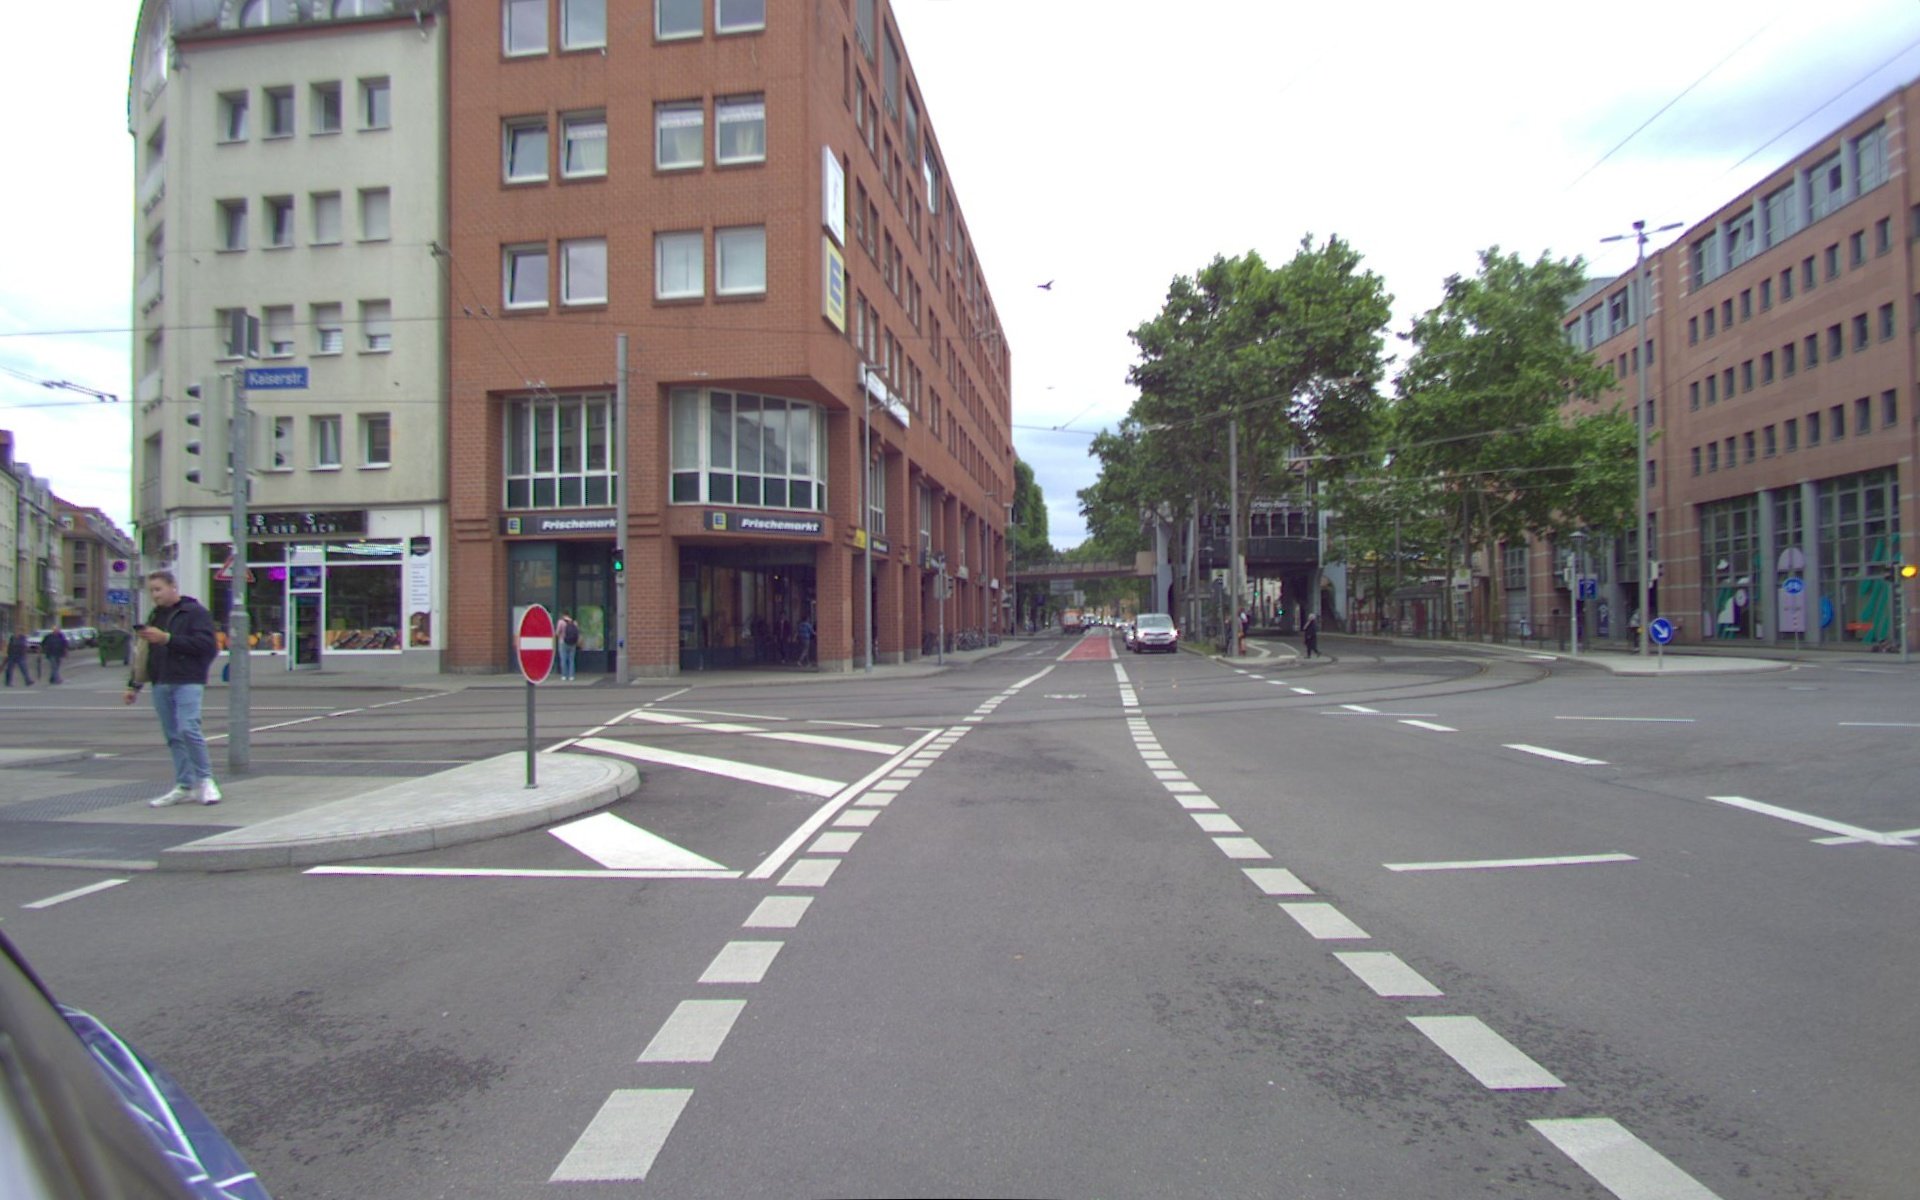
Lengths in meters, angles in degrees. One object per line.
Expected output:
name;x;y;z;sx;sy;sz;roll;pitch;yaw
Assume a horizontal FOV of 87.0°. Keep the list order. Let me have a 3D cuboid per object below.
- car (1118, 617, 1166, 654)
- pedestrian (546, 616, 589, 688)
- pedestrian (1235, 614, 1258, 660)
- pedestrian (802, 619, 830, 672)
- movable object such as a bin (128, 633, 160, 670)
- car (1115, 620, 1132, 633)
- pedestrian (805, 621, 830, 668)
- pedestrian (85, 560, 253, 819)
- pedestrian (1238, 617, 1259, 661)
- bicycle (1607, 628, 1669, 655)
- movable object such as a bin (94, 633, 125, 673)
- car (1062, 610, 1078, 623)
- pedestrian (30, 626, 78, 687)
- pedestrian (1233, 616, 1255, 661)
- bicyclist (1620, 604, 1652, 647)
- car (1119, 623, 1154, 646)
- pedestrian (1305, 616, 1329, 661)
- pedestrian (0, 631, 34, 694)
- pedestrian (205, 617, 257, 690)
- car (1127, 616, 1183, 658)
car;9.349;1.831;52.290;1.903;1.807;3.996;-1;-2;3
pedestrian;-9.565;1.250;24.671;0.570;1.696;0.789;0;0;37
pedestrian;10.113;1.293;35.752;0.621;1.586;0.574;1;-1;1
pedestrian;-4.706;1.470;33.103;0.789;1.696;0.745;0;0;4
movable object such as a bin;-32.791;2.046;40.660;0.995;1.416;1.241;0;-1;-40
car;20.160;3.299;124.981;1.657;1.559;3.702;-1;-2;3
pedestrian;-5.243;1.617;37.308;0.789;1.696;0.745;0;0;4
pedestrian;-6.074;0.664;7.802;0.789;1.904;0.611;0;-1;6
pedestrian;10.854;1.467;38.071;0.621;1.624;0.574;1;-1;1
bicycle;28.902;1.744;43.231;0.894;1.053;3.267;-1;-1;10
movable object such as a bin;-33.648;2.067;40.032;0.932;1.512;1.241;0;-1;-40
car;15.168;2.294;139.128;1.907;1.807;3.695;-1;-2;10
pedestrian;-25.697;1.581;28.696;0.918;1.700;0.657;0;-2;24
pedestrian;10.425;1.399;37.163;0.621;1.624;0.574;1;-1;1
bicyclist;28.932;1.078;43.322;0.828;1.826;0.874;-1;-1;11
car;12.099;2.362;69.648;1.903;1.575;3.865;-1;-2;3
pedestrian;12.708;1.365;36.040;0.737;1.572;0.572;0;-1;14
pedestrian;-26.030;1.702;27.748;0.718;1.700;0.657;0;-2;24
pedestrian;-17.253;1.262;23.954;0.712;1.700;0.662;1;-2;-4
car;8.761;1.654;45.698;1.903;1.807;3.996;-1;-2;3
